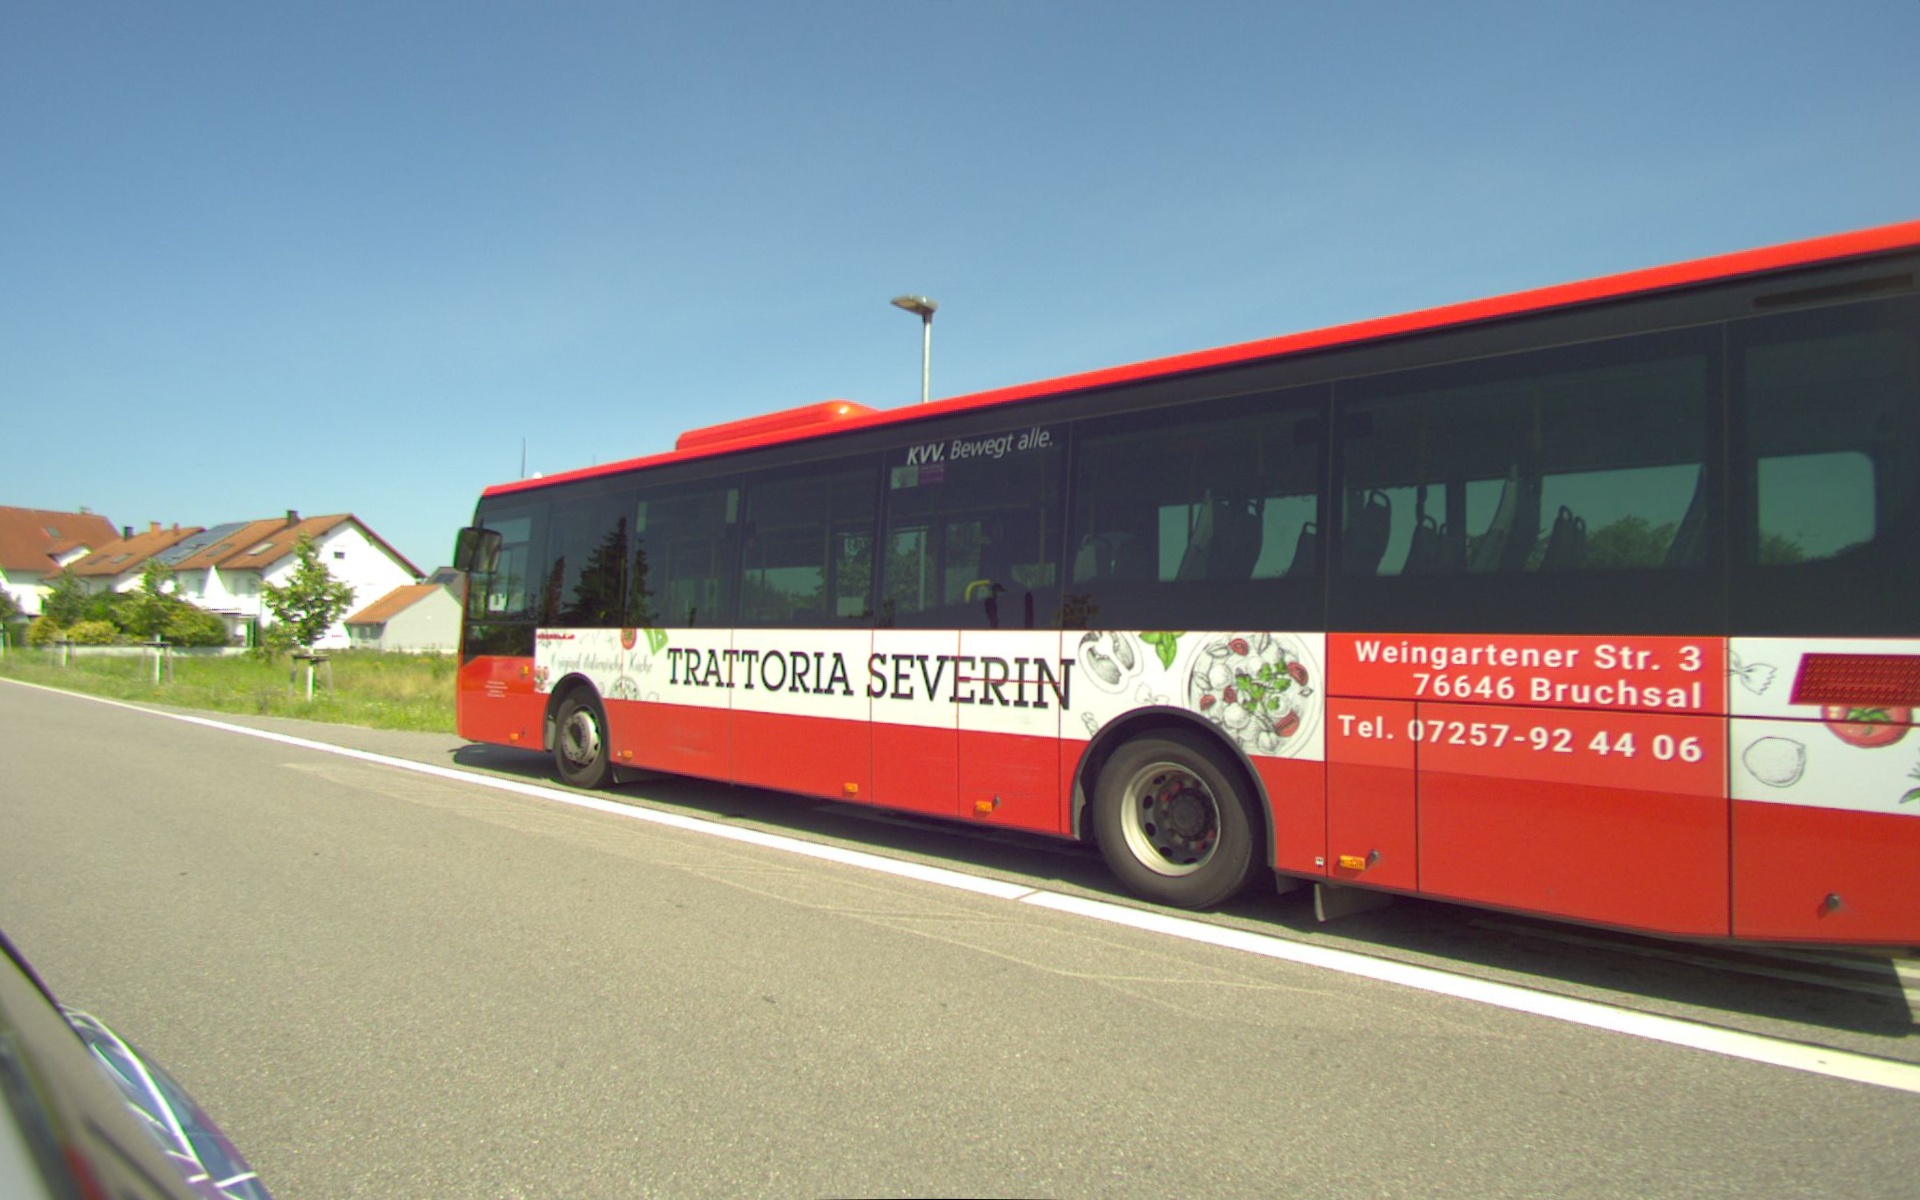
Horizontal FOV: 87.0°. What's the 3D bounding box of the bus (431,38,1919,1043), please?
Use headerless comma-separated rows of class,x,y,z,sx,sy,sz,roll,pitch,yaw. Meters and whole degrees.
bus,-0.112,-0.039,7.937,12.220,3.312,2.765,-2,-3,40
